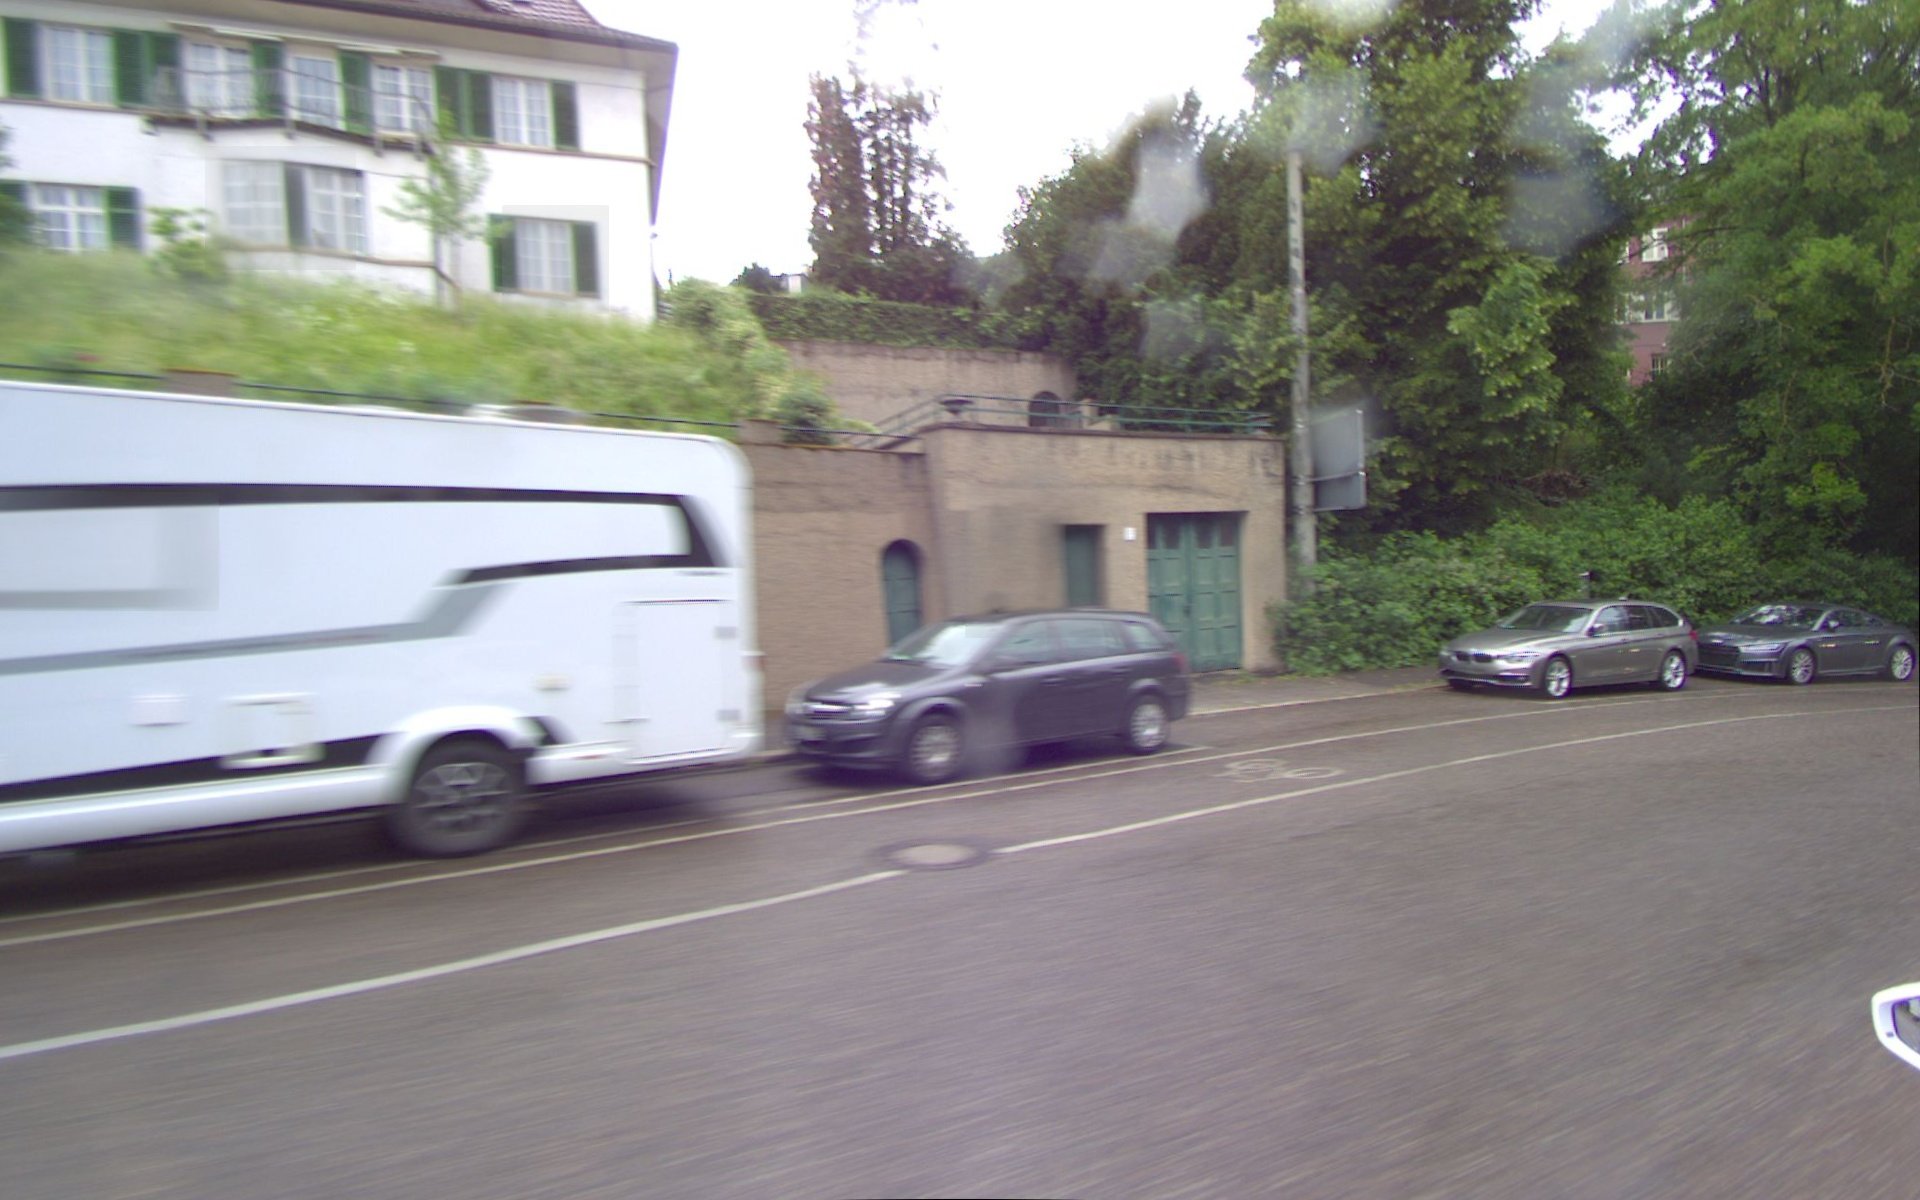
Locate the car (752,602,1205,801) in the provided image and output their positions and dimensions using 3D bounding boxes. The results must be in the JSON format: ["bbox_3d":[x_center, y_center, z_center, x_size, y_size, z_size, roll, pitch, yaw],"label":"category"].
[{"bbox_3d":[0.318,0.807,9.941,4.330,1.518,1.774,-1,0,-37],"label":"car"}]

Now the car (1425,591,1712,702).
[{"bbox_3d":[9.763,0.651,16.085,4.466,1.519,1.694,-1,3,-25],"label":"car"}]

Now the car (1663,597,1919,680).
[{"bbox_3d":[15.013,0.640,18.029,4.177,1.293,1.698,0,2,-17],"label":"car"}]

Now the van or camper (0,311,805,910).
[{"bbox_3d":[-4.551,0.064,6.061,6.984,2.826,2.140,0,-1,-37],"label":"van or camper"}]
